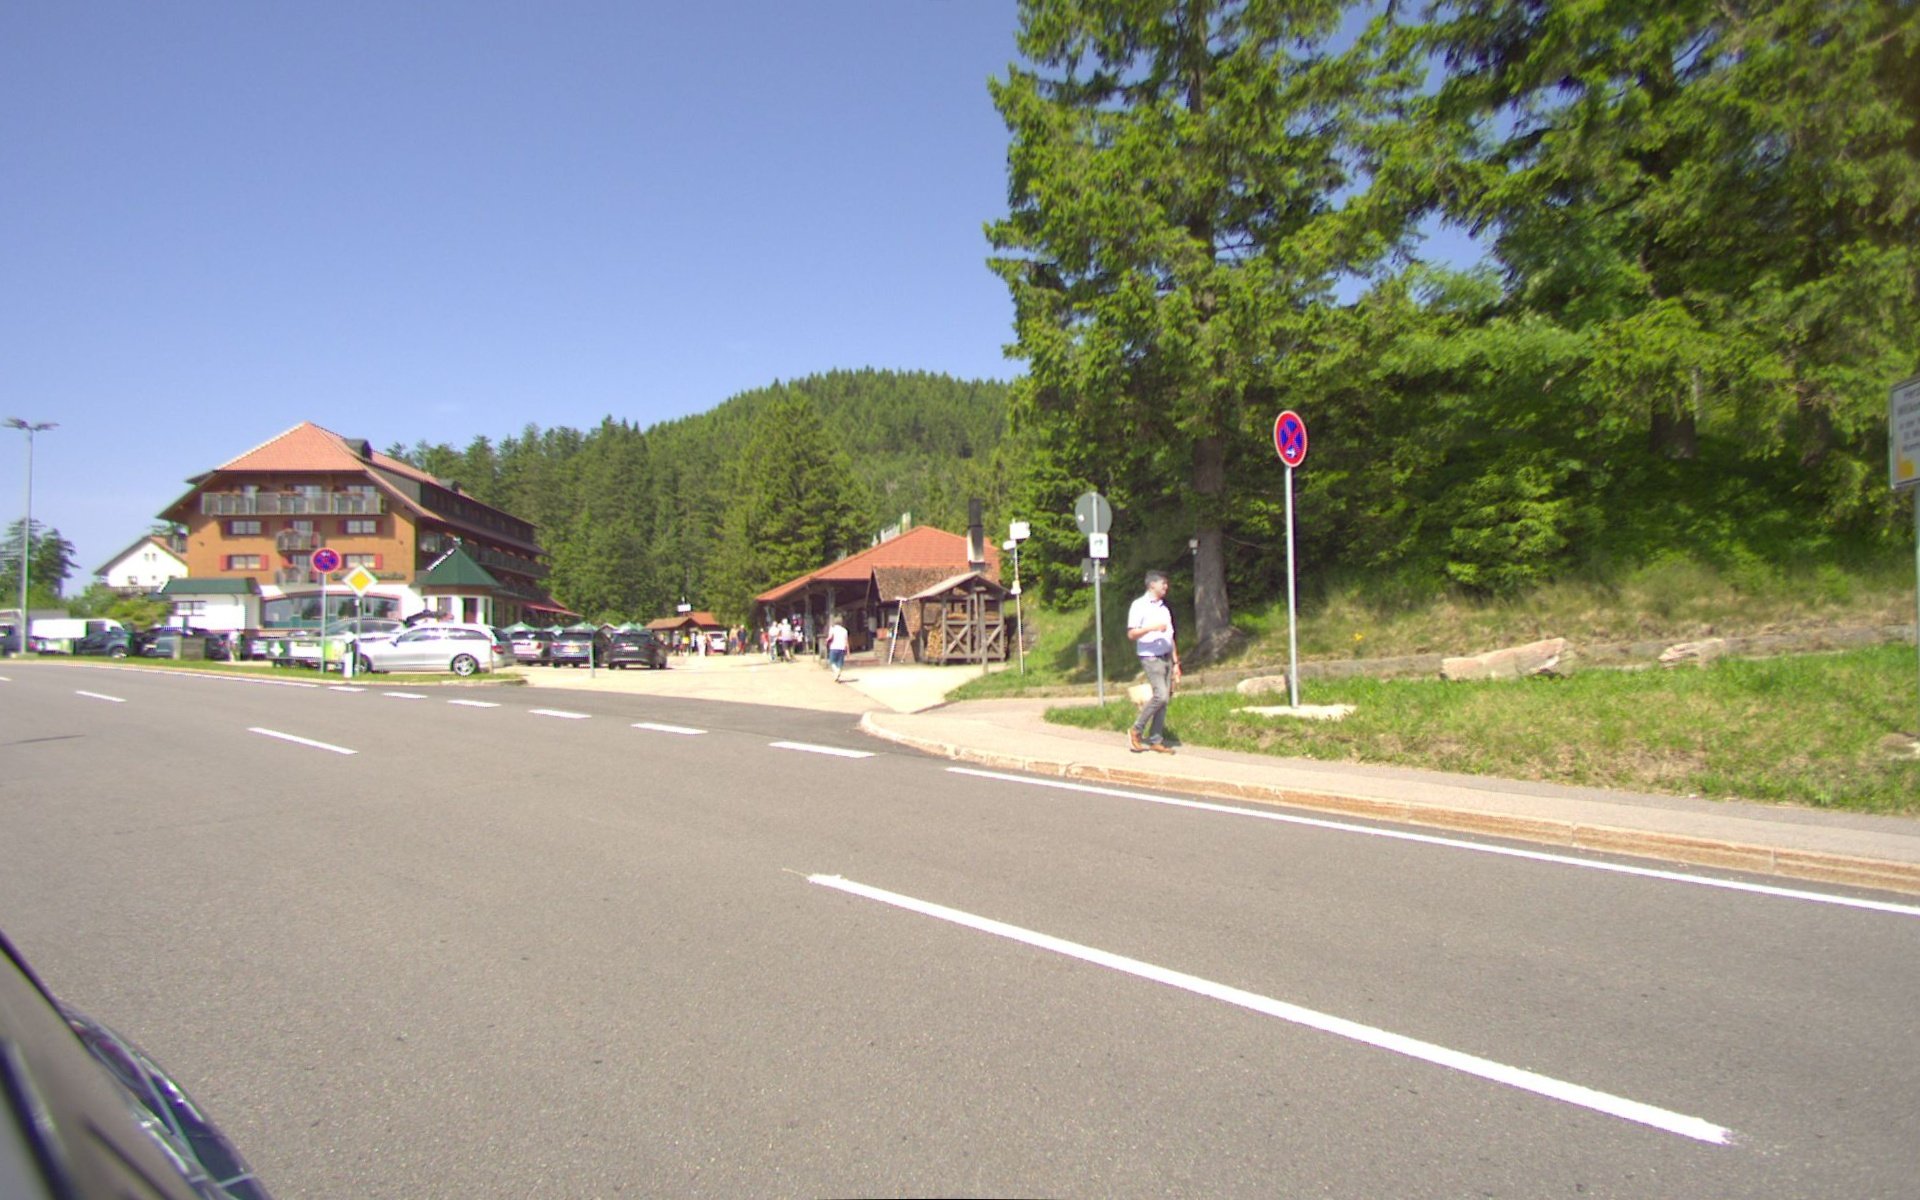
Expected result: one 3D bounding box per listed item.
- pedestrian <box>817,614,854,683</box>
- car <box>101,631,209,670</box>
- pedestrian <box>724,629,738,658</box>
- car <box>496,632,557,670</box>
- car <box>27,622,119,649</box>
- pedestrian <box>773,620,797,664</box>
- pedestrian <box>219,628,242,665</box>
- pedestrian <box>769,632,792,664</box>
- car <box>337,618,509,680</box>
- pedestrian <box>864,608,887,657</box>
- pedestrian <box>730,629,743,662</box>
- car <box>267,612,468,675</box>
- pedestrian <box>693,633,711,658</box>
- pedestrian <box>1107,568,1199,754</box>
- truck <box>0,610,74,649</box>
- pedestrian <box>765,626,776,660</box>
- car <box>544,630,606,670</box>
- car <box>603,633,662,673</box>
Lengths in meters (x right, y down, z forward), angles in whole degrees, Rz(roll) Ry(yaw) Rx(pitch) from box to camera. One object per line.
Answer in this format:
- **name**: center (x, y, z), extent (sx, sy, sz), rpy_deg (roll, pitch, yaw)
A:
- **pedestrian**: center (-3.189, 1.235, 26.027), extent (0.899, 1.754, 0.637), rpy_deg (-1, -1, -4)
- **car**: center (-34.992, 2.178, 44.038), extent (3.284, 1.604, 1.718), rpy_deg (-1, -1, -4)
- **pedestrian**: center (-13.399, 2.563, 59.256), extent (0.674, 1.687, 0.533), rpy_deg (-1, -1, 4)
- **car**: center (-17.483, 2.041, 40.937), extent (1.614, 1.445, 3.322), rpy_deg (0, -2, -11)
- **car**: center (-67.380, 2.678, 76.924), extent (5.176, 1.920, 2.002), rpy_deg (0, -1, -43)
- **pedestrian**: center (-6.755, 1.600, 38.987), extent (0.759, 1.679, 0.892), rpy_deg (0, -1, -18)
- **pedestrian**: center (-33.767, 2.148, 46.857), extent (0.684, 1.712, 0.769), rpy_deg (-2, -2, 45)
- **pedestrian**: center (-7.073, 1.872, 39.853), extent (0.759, 1.206, 0.892), rpy_deg (0, -1, -18)
- **car**: center (-14.843, 1.336, 28.164), extent (3.898, 1.600, 1.794), rpy_deg (0, -1, -11)
- **pedestrian**: center (-3.512, 1.338, 41.999), extent (0.882, 2.029, 0.789), rpy_deg (-1, 0, -9)
- **pedestrian**: center (-12.244, 2.491, 55.483), extent (0.566, 1.778, 0.468), rpy_deg (-1, -1, 4)
- **car**: center (-18.903, 1.347, 32.572), extent (5.273, 1.884, 2.006), rpy_deg (0, -1, -16)
- **pedestrian**: center (-16.081, 2.855, 63.129), extent (0.971, 1.507, 0.892), rpy_deg (0, -1, -20)
- **pedestrian**: center (1.910, 0.586, 10.023), extent (0.686, 1.754, 0.573), rpy_deg (-2, -2, 39)
- **truck**: center (-74.205, 2.293, 79.844), extent (2.822, 2.851, 8.786), rpy_deg (-1, 0, -15)
- **pedestrian**: center (-9.239, 2.073, 49.260), extent (0.514, 1.635, 0.538), rpy_deg (0, -1, -13)
- **car**: center (-14.827, 1.920, 39.086), extent (1.691, 1.445, 3.322), rpy_deg (0, -2, -11)
- **car**: center (-12.208, 1.949, 37.909), extent (1.685, 1.406, 3.322), rpy_deg (0, -2, -11)
